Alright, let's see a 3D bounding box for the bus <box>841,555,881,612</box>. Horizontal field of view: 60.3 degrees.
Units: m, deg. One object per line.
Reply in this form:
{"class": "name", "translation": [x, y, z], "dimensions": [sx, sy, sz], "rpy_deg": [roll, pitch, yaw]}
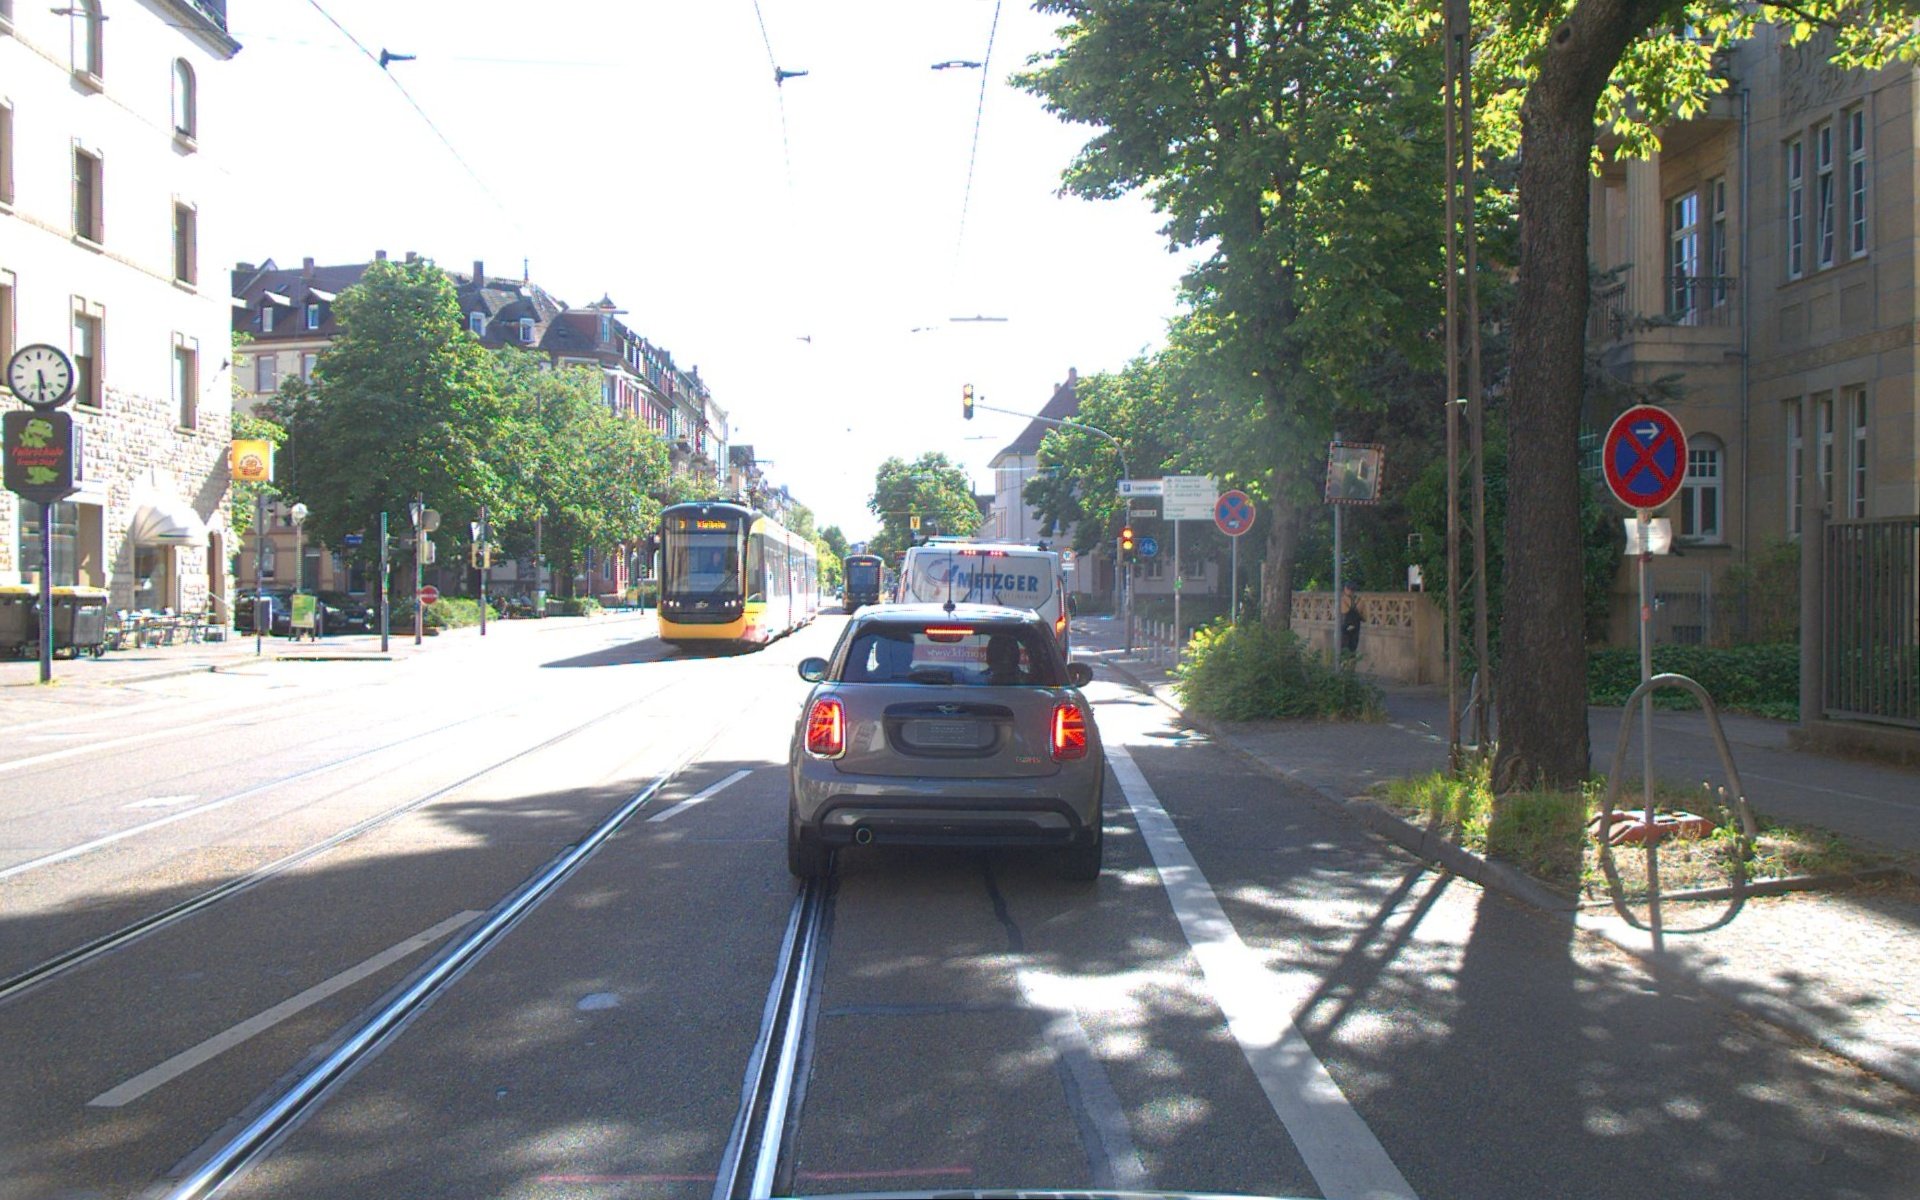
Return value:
{"class": "bus", "translation": [-6.497, -1.036, 108.047], "dimensions": [2.339, 3.557, 7.376], "rpy_deg": [1, 0, -5]}

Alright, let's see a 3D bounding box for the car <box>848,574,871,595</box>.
{"class": "car", "translation": [-8.143, -1.265, 134.109], "dimensions": [1.827, 1.591, 3.996], "rpy_deg": [1, 0, -4]}

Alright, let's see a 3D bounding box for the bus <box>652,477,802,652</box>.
{"class": "bus", "translation": [-5.754, -0.769, 42.706], "dimensions": [2.803, 3.843, 11.490], "rpy_deg": [1, 0, -3]}

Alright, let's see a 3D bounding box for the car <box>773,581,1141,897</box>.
{"class": "car", "translation": [-0.039, 0.689, 10.088], "dimensions": [1.778, 1.514, 3.999], "rpy_deg": [1, 0, -1]}

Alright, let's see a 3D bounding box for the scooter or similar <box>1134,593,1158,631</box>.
{"class": "scooter or similar", "translation": [6.608, 0.426, 58.909], "dimensions": [0.662, 1.333, 1.328], "rpy_deg": [1, 0, -2]}

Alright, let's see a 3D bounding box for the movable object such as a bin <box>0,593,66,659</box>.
{"class": "movable object such as a bin", "translation": [-17.886, 0.490, 31.667], "dimensions": [0.815, 1.244, 1.244], "rpy_deg": [1, 0, 1]}

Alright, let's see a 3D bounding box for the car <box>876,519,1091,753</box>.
{"class": "car", "translation": [0.195, 0.362, 18.628], "dimensions": [2.075, 2.247, 4.943], "rpy_deg": [1, 0, -1]}

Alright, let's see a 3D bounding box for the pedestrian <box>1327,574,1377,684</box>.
{"class": "pedestrian", "translation": [6.163, 0.448, 26.051], "dimensions": [0.580, 1.700, 0.646], "rpy_deg": [-2, 0, -1]}

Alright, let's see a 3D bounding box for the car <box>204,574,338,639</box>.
{"class": "car", "translation": [-22.572, 0.212, 54.186], "dimensions": [3.910, 2.049, 1.997], "rpy_deg": [1, 0, 28]}

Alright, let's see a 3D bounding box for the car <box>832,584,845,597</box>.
{"class": "car", "translation": [-15.607, -1.195, 212.546], "dimensions": [1.741, 1.646, 3.996], "rpy_deg": [1, 0, -4]}

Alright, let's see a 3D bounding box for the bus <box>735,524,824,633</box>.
{"class": "bus", "translation": [-6.967, -0.750, 65.470], "dimensions": [2.793, 3.843, 12.189], "rpy_deg": [1, 0, -3]}

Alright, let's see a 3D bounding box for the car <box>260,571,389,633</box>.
{"class": "car", "translation": [-21.625, 0.061, 56.278], "dimensions": [3.910, 2.049, 1.997], "rpy_deg": [1, 0, 28]}

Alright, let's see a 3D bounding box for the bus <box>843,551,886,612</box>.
{"class": "bus", "translation": [-5.882, -1.056, 100.670], "dimensions": [2.339, 3.557, 7.376], "rpy_deg": [1, 0, -5]}

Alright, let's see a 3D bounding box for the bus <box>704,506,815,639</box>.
{"class": "bus", "translation": [-6.337, -0.788, 53.945], "dimensions": [2.803, 3.843, 11.176], "rpy_deg": [1, 0, -3]}

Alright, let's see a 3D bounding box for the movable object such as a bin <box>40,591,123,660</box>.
{"class": "movable object such as a bin", "translation": [-16.981, 0.491, 32.002], "dimensions": [0.925, 1.296, 1.144], "rpy_deg": [1, 0, 3]}
